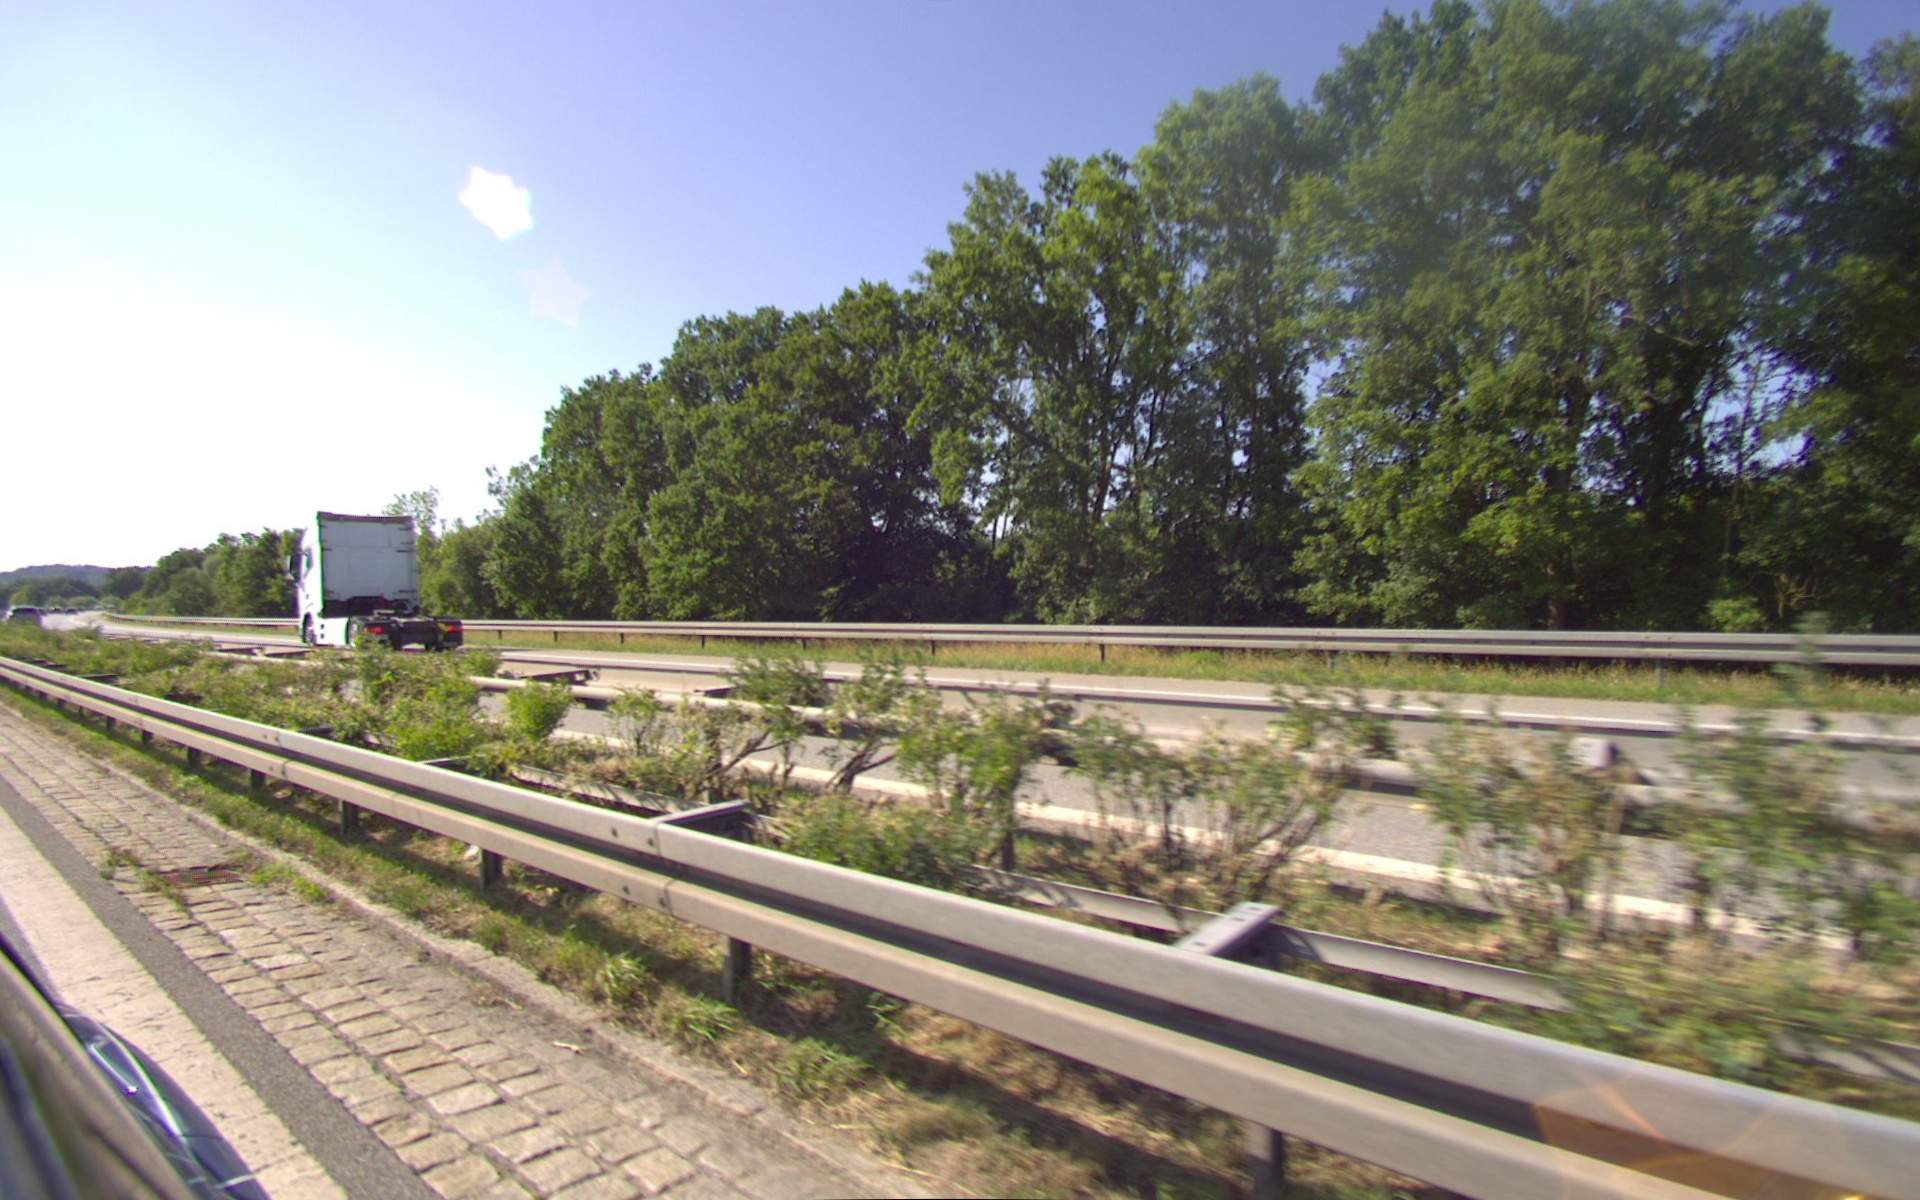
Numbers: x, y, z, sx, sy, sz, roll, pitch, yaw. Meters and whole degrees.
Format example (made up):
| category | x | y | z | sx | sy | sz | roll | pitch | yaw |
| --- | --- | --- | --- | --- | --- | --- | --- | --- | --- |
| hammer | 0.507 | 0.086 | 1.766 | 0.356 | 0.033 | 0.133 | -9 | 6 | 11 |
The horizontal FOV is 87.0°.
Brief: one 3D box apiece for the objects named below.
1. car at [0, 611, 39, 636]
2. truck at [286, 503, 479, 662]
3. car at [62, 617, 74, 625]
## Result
| category | x | y | z | sx | sy | sz | roll | pitch | yaw |
| --- | --- | --- | --- | --- | --- | --- | --- | --- | --- |
| car | -64.702 | 1.617 | 69.525 | 4.000 | 1.619 | 1.822 | -1 | -2 | 43 |
| truck | -16.054 | -0.341 | 27.900 | 6.808 | 3.869 | 2.596 | -1 | -2 | 42 |
| car | -177.962 | 4.227 | 201.867 | 1.831 | 1.646 | 4.499 | 2 | -2 | -42 |
